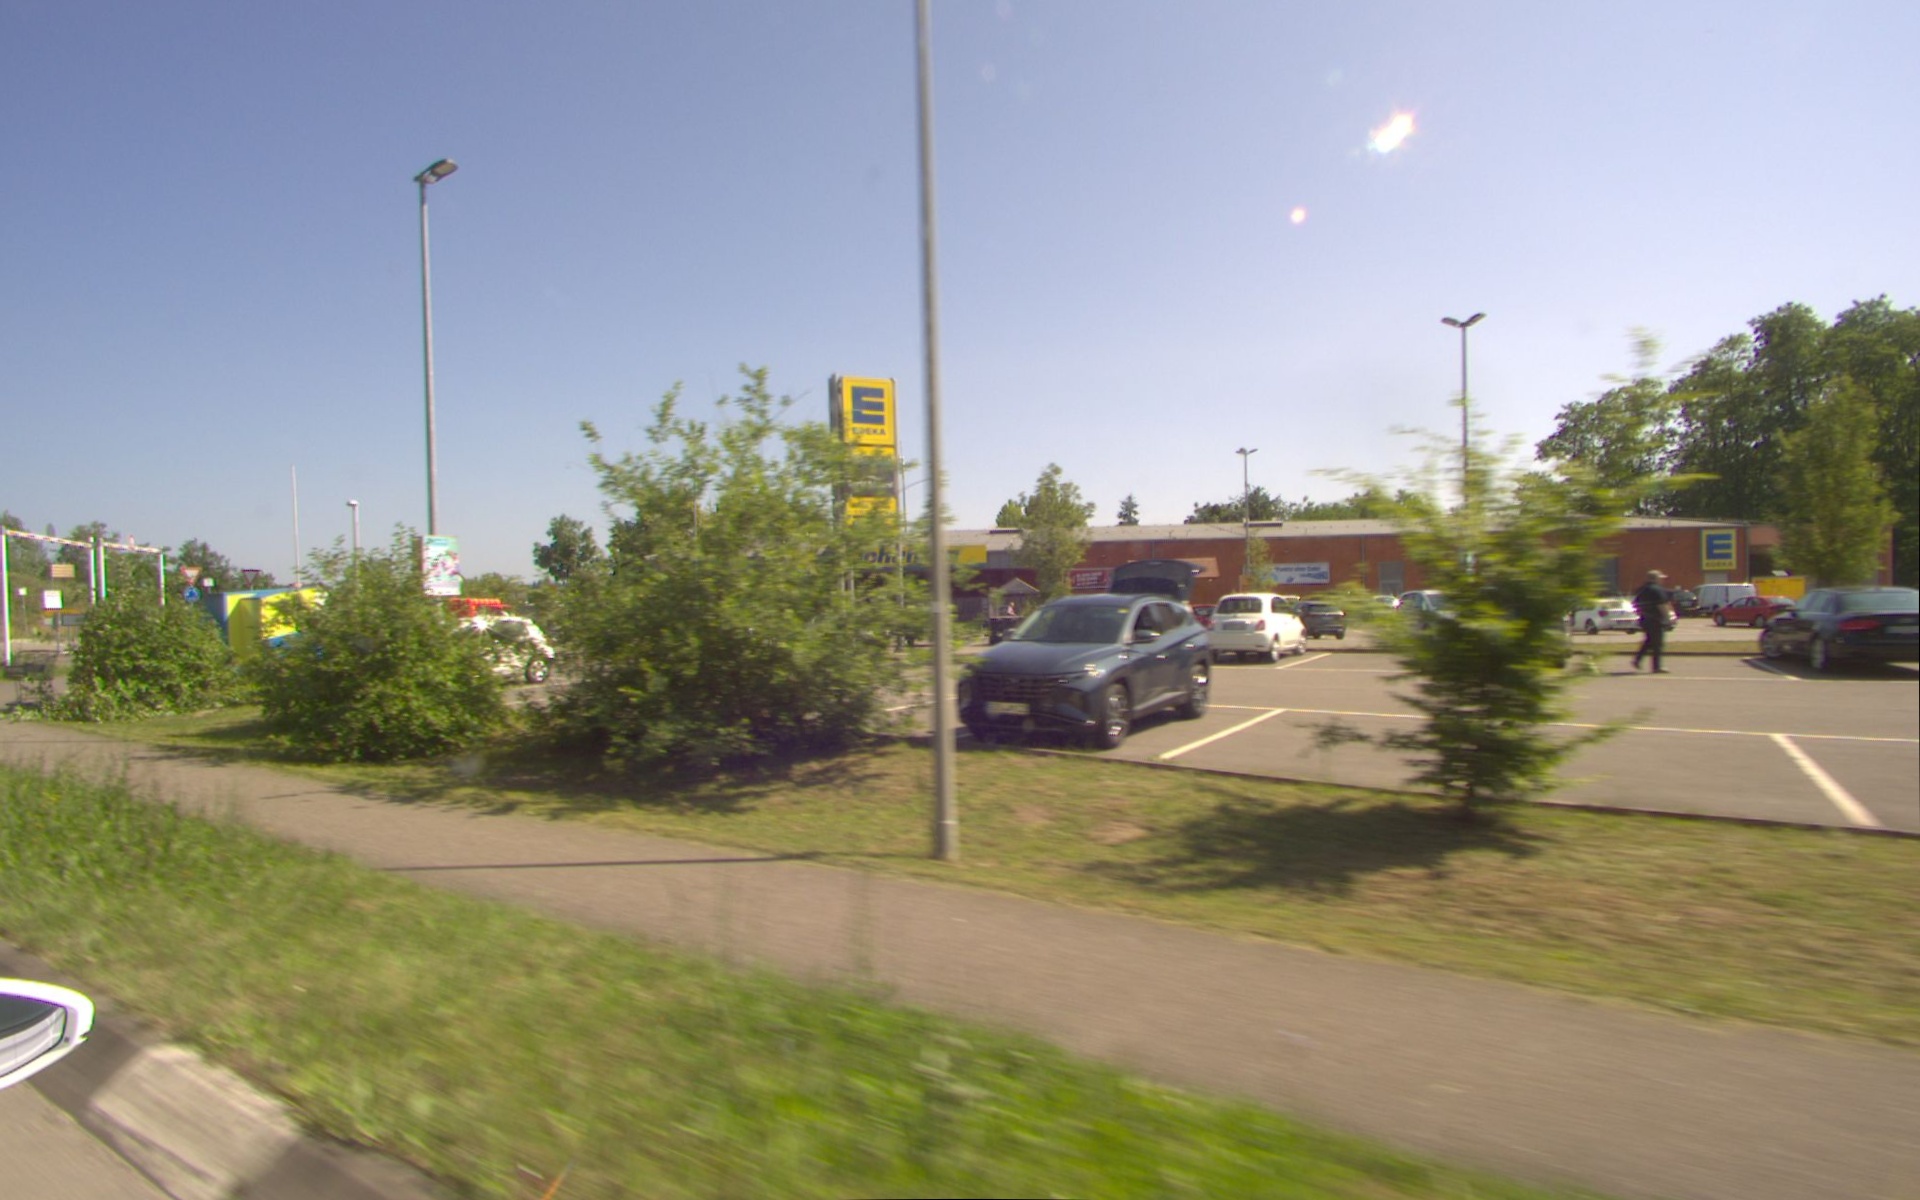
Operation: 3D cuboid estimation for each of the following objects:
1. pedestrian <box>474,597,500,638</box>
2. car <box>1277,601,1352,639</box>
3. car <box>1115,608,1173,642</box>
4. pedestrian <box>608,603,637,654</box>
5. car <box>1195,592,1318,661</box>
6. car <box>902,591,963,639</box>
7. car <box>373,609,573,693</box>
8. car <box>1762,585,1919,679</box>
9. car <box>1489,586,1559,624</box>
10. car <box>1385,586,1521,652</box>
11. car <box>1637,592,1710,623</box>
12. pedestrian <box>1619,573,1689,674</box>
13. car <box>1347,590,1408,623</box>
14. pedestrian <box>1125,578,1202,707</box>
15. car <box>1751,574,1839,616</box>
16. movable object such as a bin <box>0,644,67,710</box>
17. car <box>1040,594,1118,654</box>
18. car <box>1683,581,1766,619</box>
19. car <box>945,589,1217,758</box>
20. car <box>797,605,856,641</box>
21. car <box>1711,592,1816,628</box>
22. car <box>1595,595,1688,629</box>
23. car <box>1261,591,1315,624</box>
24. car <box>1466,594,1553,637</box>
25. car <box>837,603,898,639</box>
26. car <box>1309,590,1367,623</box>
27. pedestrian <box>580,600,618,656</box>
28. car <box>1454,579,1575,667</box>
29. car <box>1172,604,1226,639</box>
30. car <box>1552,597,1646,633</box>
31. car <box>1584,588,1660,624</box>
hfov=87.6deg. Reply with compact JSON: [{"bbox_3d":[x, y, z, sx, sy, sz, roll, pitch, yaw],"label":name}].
[{"bbox_3d":[-21.948,0.823,46.471,0.824,1.896,0.774,0,1,4],"label":"pedestrian"},{"bbox_3d":[14.701,0.800,41.711,1.930,1.506,3.999,0,0,4],"label":"car"},{"bbox_3d":[7.831,1.040,42.972,1.961,1.394,4.000,0,0,3],"label":"car"},{"bbox_3d":[-11.381,0.950,33.780,0.586,1.670,0.702,0,1,18],"label":"pedestrian"},{"bbox_3d":[6.988,0.565,23.383,1.628,1.461,3.976,0,0,34],"label":"car"},{"bbox_3d":[-1.131,0.637,43.010,1.843,1.954,3.489,0,0,12],"label":"car"},{"bbox_3d":[-10.660,1.043,22.159,1.787,1.583,3.587,0,1,30],"label":"car"},{"bbox_3d":[15.528,0.480,17.284,1.721,1.446,3.986,0,0,25],"label":"car"},{"bbox_3d":[31.293,0.266,55.719,1.961,2.040,3.999,-1,0,6],"label":"car"},{"bbox_3d":[13.845,0.578,28.459,1.961,1.723,4.562,-1,-2,5],"label":"car"},{"bbox_3d":[39.756,0.389,55.898,1.748,1.662,3.771,-1,0,7],"label":"car"},{"bbox_3d":[12.157,0.397,17.563,0.698,1.728,0.758,-1,1,0],"label":"pedestrian"},{"bbox_3d":[24.106,0.361,57.913,1.961,1.840,3.999,-1,0,2],"label":"car"},{"bbox_3d":[2.980,0.603,14.660,0.854,1.821,0.816,0,1,34],"label":"pedestrian"},{"bbox_3d":[46.380,-0.248,55.738,1.962,2.276,4.022,0,0,9],"label":"car"},{"bbox_3d":[-17.448,1.419,18.701,0.858,1.135,1.448,0,0,-30],"label":"movable object such as a bin"},{"bbox_3d":[3.364,0.661,28.992,1.629,1.609,3.999,0,0,-2],"label":"car"},{"bbox_3d":[42.432,0.031,55.699,1.962,2.040,3.998,0,0,9],"label":"car"},{"bbox_3d":[1.665,0.731,12.277,1.727,1.649,4.109,0,1,32],"label":"car"},{"bbox_3d":[-6.421,1.072,48.563,1.876,1.644,3.999,0,0,7],"label":"car"},{"bbox_3d":[36.522,0.440,45.662,1.765,1.539,3.999,-1,0,4],"label":"car"},{"bbox_3d":[30.791,0.531,45.406,1.876,1.461,3.998,-1,0,7],"label":"car"},{"bbox_3d":[18.949,0.402,58.025,1.961,1.840,3.999,-1,0,2],"label":"car"},{"bbox_3d":[22.514,0.614,41.195,1.962,1.684,3.997,0,0,11],"label":"car"},{"bbox_3d":[-3.967,0.893,43.476,1.684,1.517,3.490,0,0,12],"label":"car"},{"bbox_3d":[21.793,0.376,57.899,1.961,1.840,3.999,-1,0,2],"label":"car"},{"bbox_3d":[-11.782,0.912,32.695,0.827,1.809,0.879,0,1,15],"label":"pedestrian"},{"bbox_3d":[11.261,0.425,20.389,1.970,1.595,4.148,0,0,29],"label":"car"},{"bbox_3d":[10.217,0.886,43.049,1.682,1.416,3.999,0,0,5],"label":"car"},{"bbox_3d":[26.175,0.607,41.154,1.855,1.416,3.998,-1,0,10],"label":"car"},{"bbox_3d":[36.828,0.319,55.817,1.961,1.907,3.999,-1,0,7],"label":"car"}]
